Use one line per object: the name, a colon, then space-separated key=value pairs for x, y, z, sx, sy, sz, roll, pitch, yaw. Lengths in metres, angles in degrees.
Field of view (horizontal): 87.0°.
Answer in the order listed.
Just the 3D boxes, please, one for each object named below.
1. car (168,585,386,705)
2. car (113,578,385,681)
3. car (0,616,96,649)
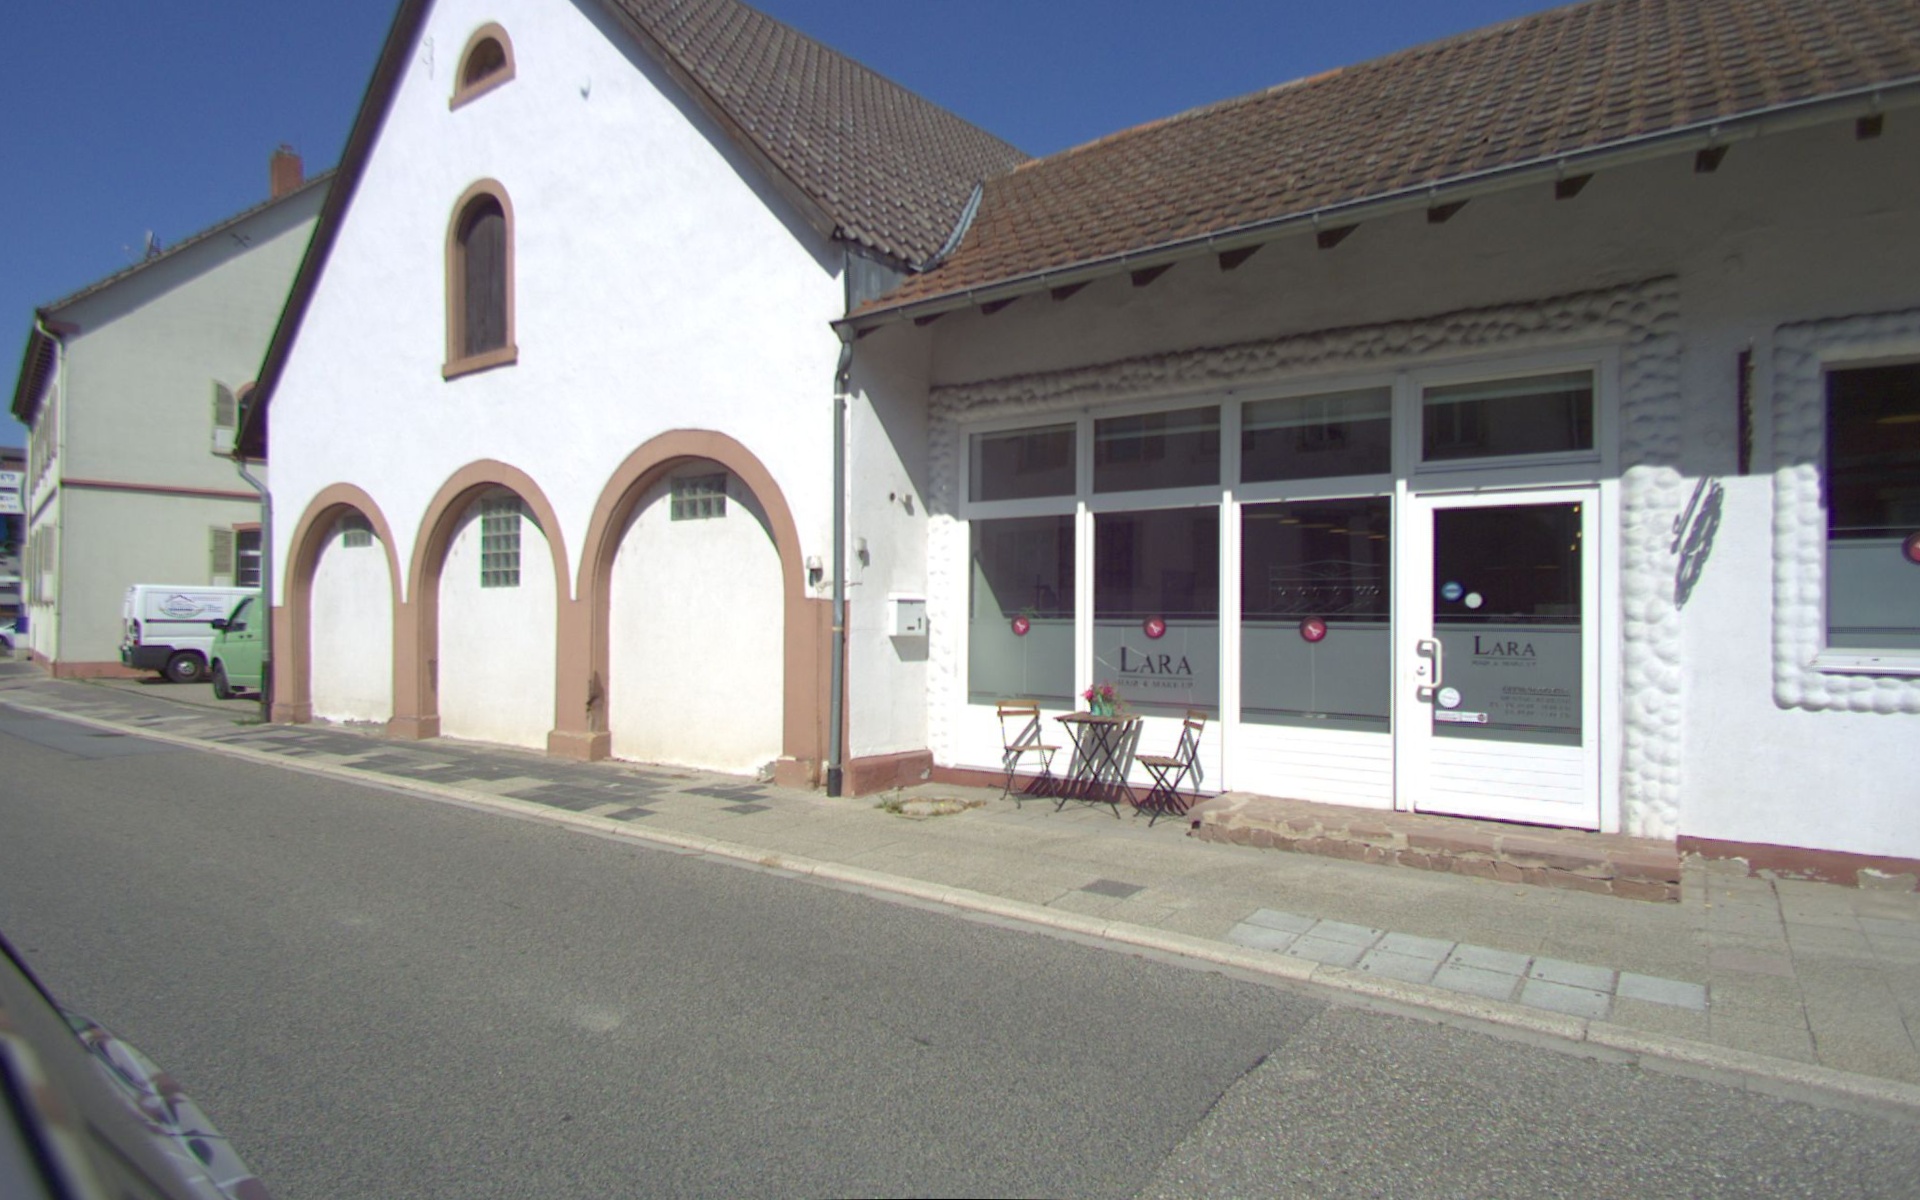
car: x=-12.802 y=0.782 z=18.884 sx=4.661 sy=1.979 sz=1.975 roll=-1 pitch=-1 yaw=37
car: x=-17.020 y=0.654 z=24.411 sx=5.115 sy=2.213 sz=2.124 roll=0 pitch=-1 yaw=-44
car: x=-42.297 y=1.473 z=45.874 sx=1.849 sy=1.451 sz=4.463 roll=-1 pitch=-1 yaw=32
